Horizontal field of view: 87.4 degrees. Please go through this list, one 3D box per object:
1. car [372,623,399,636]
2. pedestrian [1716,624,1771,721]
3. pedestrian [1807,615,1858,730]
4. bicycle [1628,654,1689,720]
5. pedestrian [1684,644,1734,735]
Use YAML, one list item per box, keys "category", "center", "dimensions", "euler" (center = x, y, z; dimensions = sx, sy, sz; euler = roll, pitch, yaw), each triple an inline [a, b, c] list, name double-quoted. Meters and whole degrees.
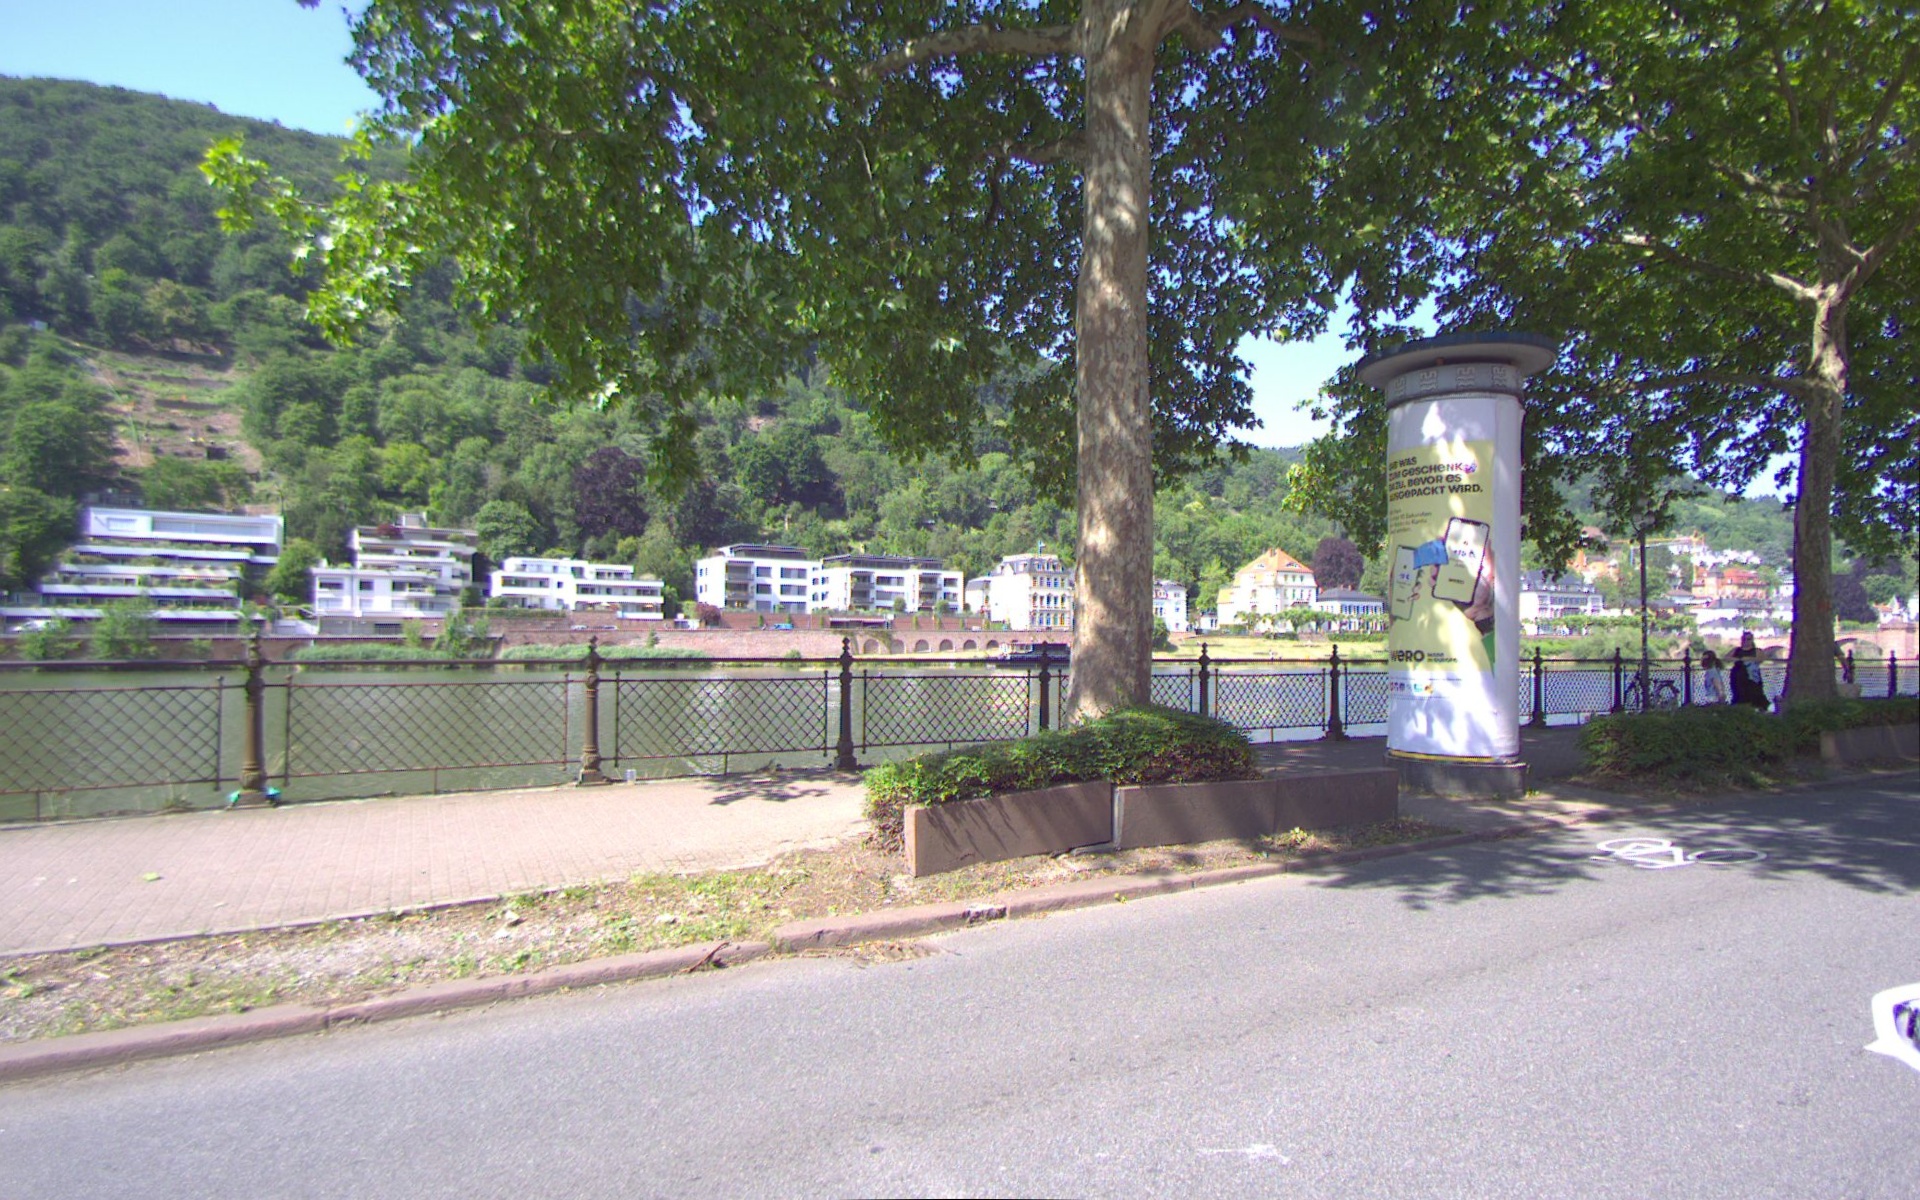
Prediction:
- category: "car"
  center: [-96.823, 4.933, 169.267]
  dimensions: [3.953, 2.040, 1.984]
  euler: [1, 0, -30]
- category: "pedestrian"
  center: [14.126, 1.296, 18.110]
  dimensions: [0.577, 1.708, 0.598]
  euler: [1, -2, -31]
- category: "pedestrian"
  center: [14.832, 1.217, 17.076]
  dimensions: [0.431, 1.912, 0.532]
  euler: [1, -1, -30]
- category: "bicycle"
  center: [12.387, 1.520, 17.801]
  dimensions: [1.281, 1.106, 0.357]
  euler: [1, 1, -31]
- category: "pedestrian"
  center: [11.669, 1.382, 15.647]
  dimensions: [0.411, 1.381, 0.477]
  euler: [1, 0, -26]
